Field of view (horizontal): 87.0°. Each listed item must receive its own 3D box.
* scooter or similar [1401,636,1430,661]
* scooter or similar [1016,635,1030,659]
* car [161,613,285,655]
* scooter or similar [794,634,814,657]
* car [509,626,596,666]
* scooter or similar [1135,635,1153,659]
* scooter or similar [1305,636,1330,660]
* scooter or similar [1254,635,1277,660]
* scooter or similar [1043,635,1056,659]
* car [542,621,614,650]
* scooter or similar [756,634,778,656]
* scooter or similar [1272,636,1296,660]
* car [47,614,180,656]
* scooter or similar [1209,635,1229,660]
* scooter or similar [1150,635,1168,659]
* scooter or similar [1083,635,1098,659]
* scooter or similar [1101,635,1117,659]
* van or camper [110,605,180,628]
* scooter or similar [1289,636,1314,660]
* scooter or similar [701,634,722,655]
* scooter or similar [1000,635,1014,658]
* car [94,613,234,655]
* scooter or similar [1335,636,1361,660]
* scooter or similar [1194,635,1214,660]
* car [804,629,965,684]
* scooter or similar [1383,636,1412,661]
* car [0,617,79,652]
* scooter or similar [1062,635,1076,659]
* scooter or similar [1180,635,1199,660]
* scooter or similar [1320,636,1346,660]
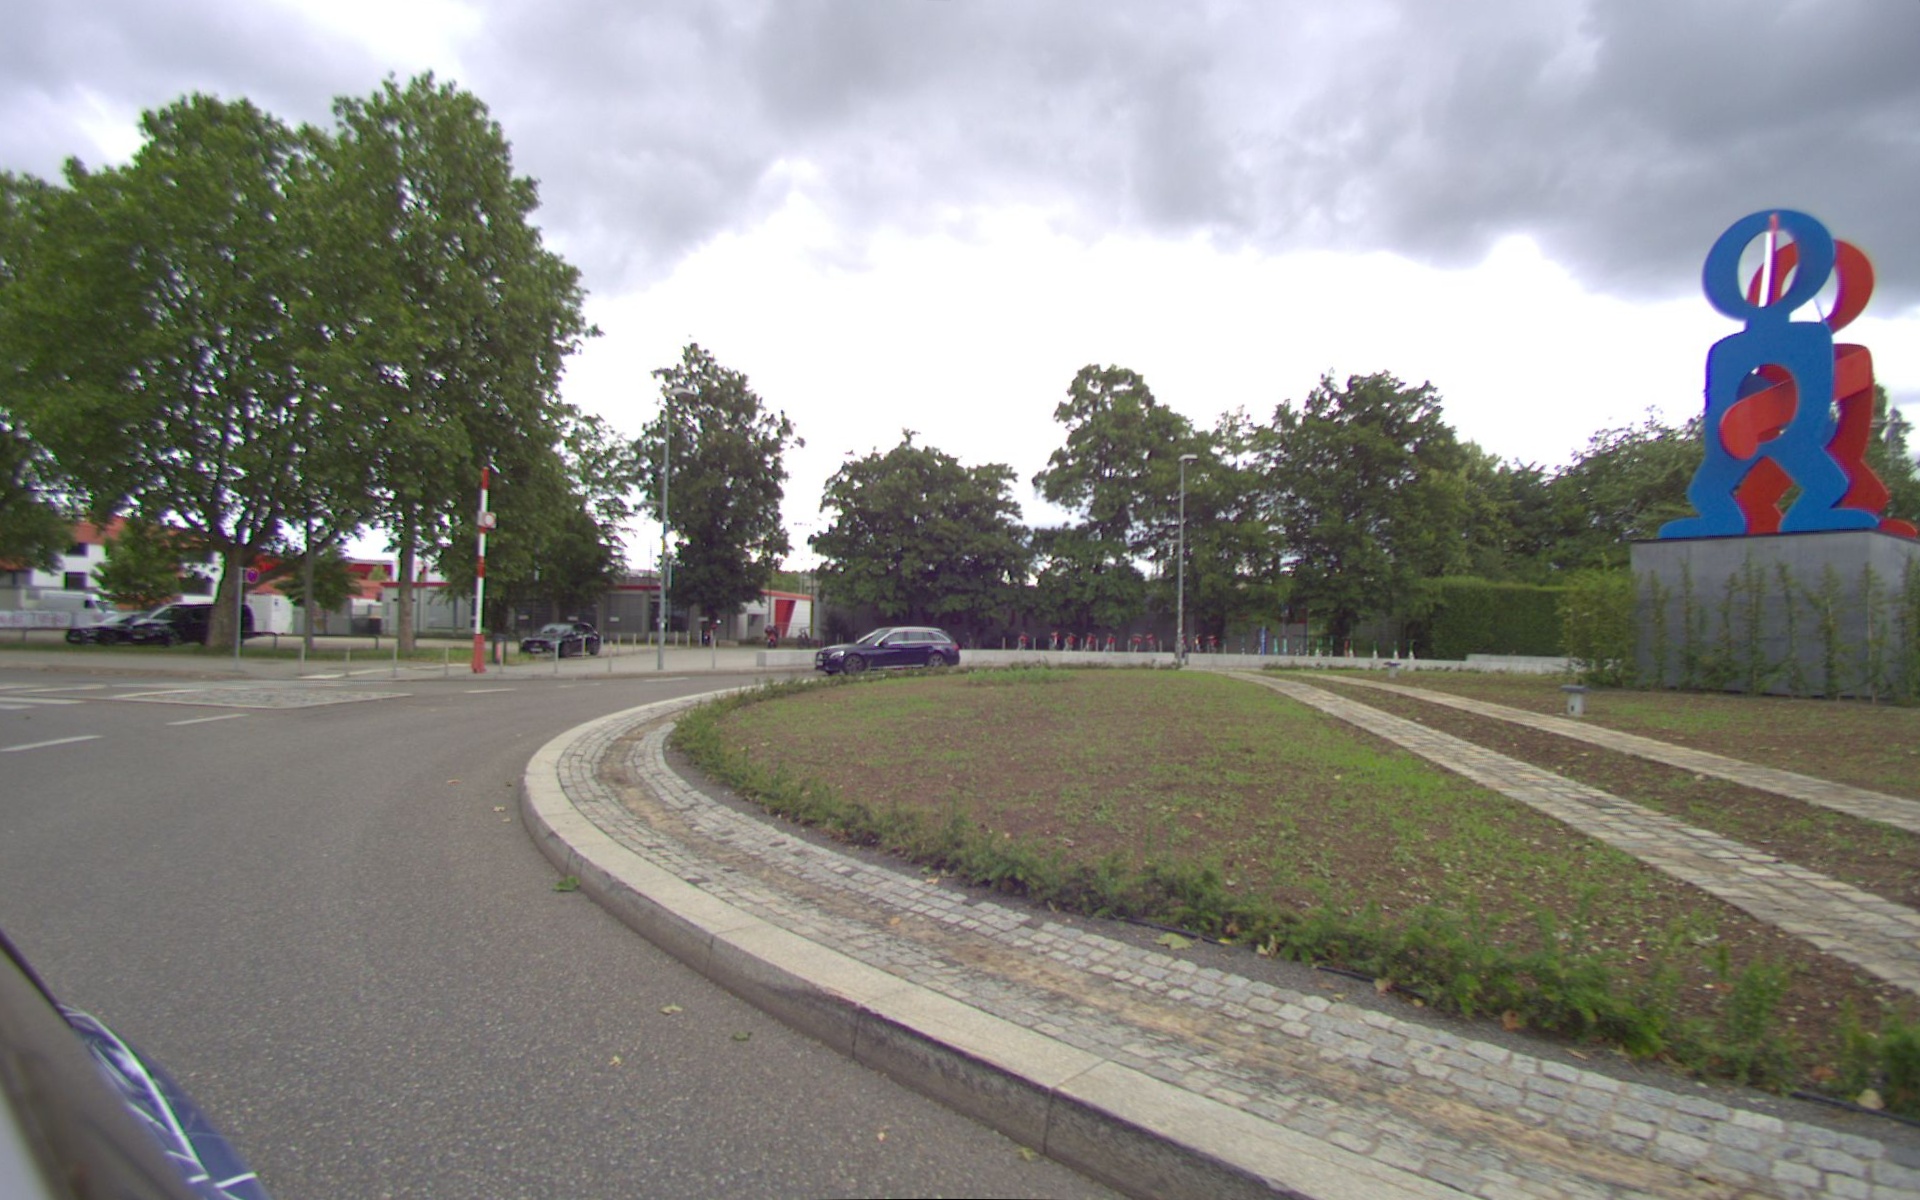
[{"bbox_3d":[21.525,2.267,47.834,0.632,1.117,1.972,0,-1,5],"label":"scooter or similar"},{"bbox_3d":[3.117,2.304,50.077,0.632,1.117,1.972,0,-1,5],"label":"scooter or similar"},{"bbox_3d":[-31.521,1.431,43.470,1.987,1.741,4.284,0,-1,5],"label":"car"},{"bbox_3d":[-8.106,2.351,52.649,0.632,1.117,1.972,0,-1,5],"label":"scooter or similar"},{"bbox_3d":[-16.668,1.857,41.611,1.757,1.536,3.818,0,-1,6],"label":"car"},{"bbox_3d":[8.916,2.280,49.032,0.632,1.117,1.972,0,-1,5],"label":"scooter or similar"},{"bbox_3d":[17.039,2.269,48.217,0.632,1.117,1.972,0,-1,5],"label":"scooter or similar"},{"bbox_3d":[14.634,2.273,48.488,0.632,1.117,1.972,0,-1,5],"label":"scooter or similar"},{"bbox_3d":[4.382,2.291,49.678,0.632,1.117,1.972,0,-1,5],"label":"scooter or similar"},{"bbox_3d":[-22.054,2.025,58.441,4.428,1.664,1.775,-1,-2,36],"label":"car"},{"bbox_3d":[-10.119,2.360,53.132,0.632,1.117,1.972,0,-1,5],"label":"scooter or similar"},{"bbox_3d":[15.491,2.272,48.409,0.632,1.117,1.972,0,-1,5],"label":"scooter or similar"},{"bbox_3d":[-36.892,1.514,44.261,1.987,1.741,4.284,0,-1,5],"label":"car"},{"bbox_3d":[12.457,2.279,48.705,0.632,1.117,1.972,0,-1,5],"label":"scooter or similar"},{"bbox_3d":[9.626,2.280,48.982,0.632,1.117,1.972,0,-1,5],"label":"scooter or similar"},{"bbox_3d":[6.356,2.286,49.399,0.632,1.117,1.972,0,-1,5],"label":"scooter or similar"},{"bbox_3d":[7.229,2.285,49.291,0.632,1.117,1.972,0,-1,5],"label":"scooter or similar"},{"bbox_3d":[-65.250,1.354,81.069,4.381,1.802,1.794,0,-1,6],"label":"van or camper"},{"bbox_3d":[16.286,2.270,48.321,0.632,1.117,1.972,0,-1,5],"label":"scooter or similar"},{"bbox_3d":[-13.301,2.374,54.185,0.539,1.103,1.807,0,-1,5],"label":"scooter or similar"},{"bbox_3d":[2.354,2.299,50.159,0.632,1.113,1.972,0,-1,5],"label":"scooter or similar"},{"bbox_3d":[-34.333,1.441,43.845,1.987,1.741,4.803,0,-1,6],"label":"car"},{"bbox_3d":[18.430,2.273,48.110,0.632,1.117,1.972,0,-1,5],"label":"scooter or similar"},{"bbox_3d":[11.759,2.280,48.770,0.632,1.117,1.972,0,-1,5],"label":"scooter or similar"},{"bbox_3d":[-2.294,1.711,31.326,4.646,1.576,1.802,1,-2,-29],"label":"car"},{"bbox_3d":[20.695,2.268,47.923,0.632,1.117,1.972,0,-1,5],"label":"scooter or similar"},{"bbox_3d":[-41.618,1.500,44.524,1.854,1.530,3.988,0,-1,14],"label":"car"},{"bbox_3d":[5.340,2.290,49.589,0.632,1.117,1.972,0,-1,5],"label":"scooter or similar"},{"bbox_3d":[11.059,2.281,48.832,0.632,1.117,1.972,0,-1,5],"label":"scooter or similar"},{"bbox_3d":[17.738,2.273,48.165,0.632,1.117,1.972,0,-1,5],"label":"scooter or similar"}]
